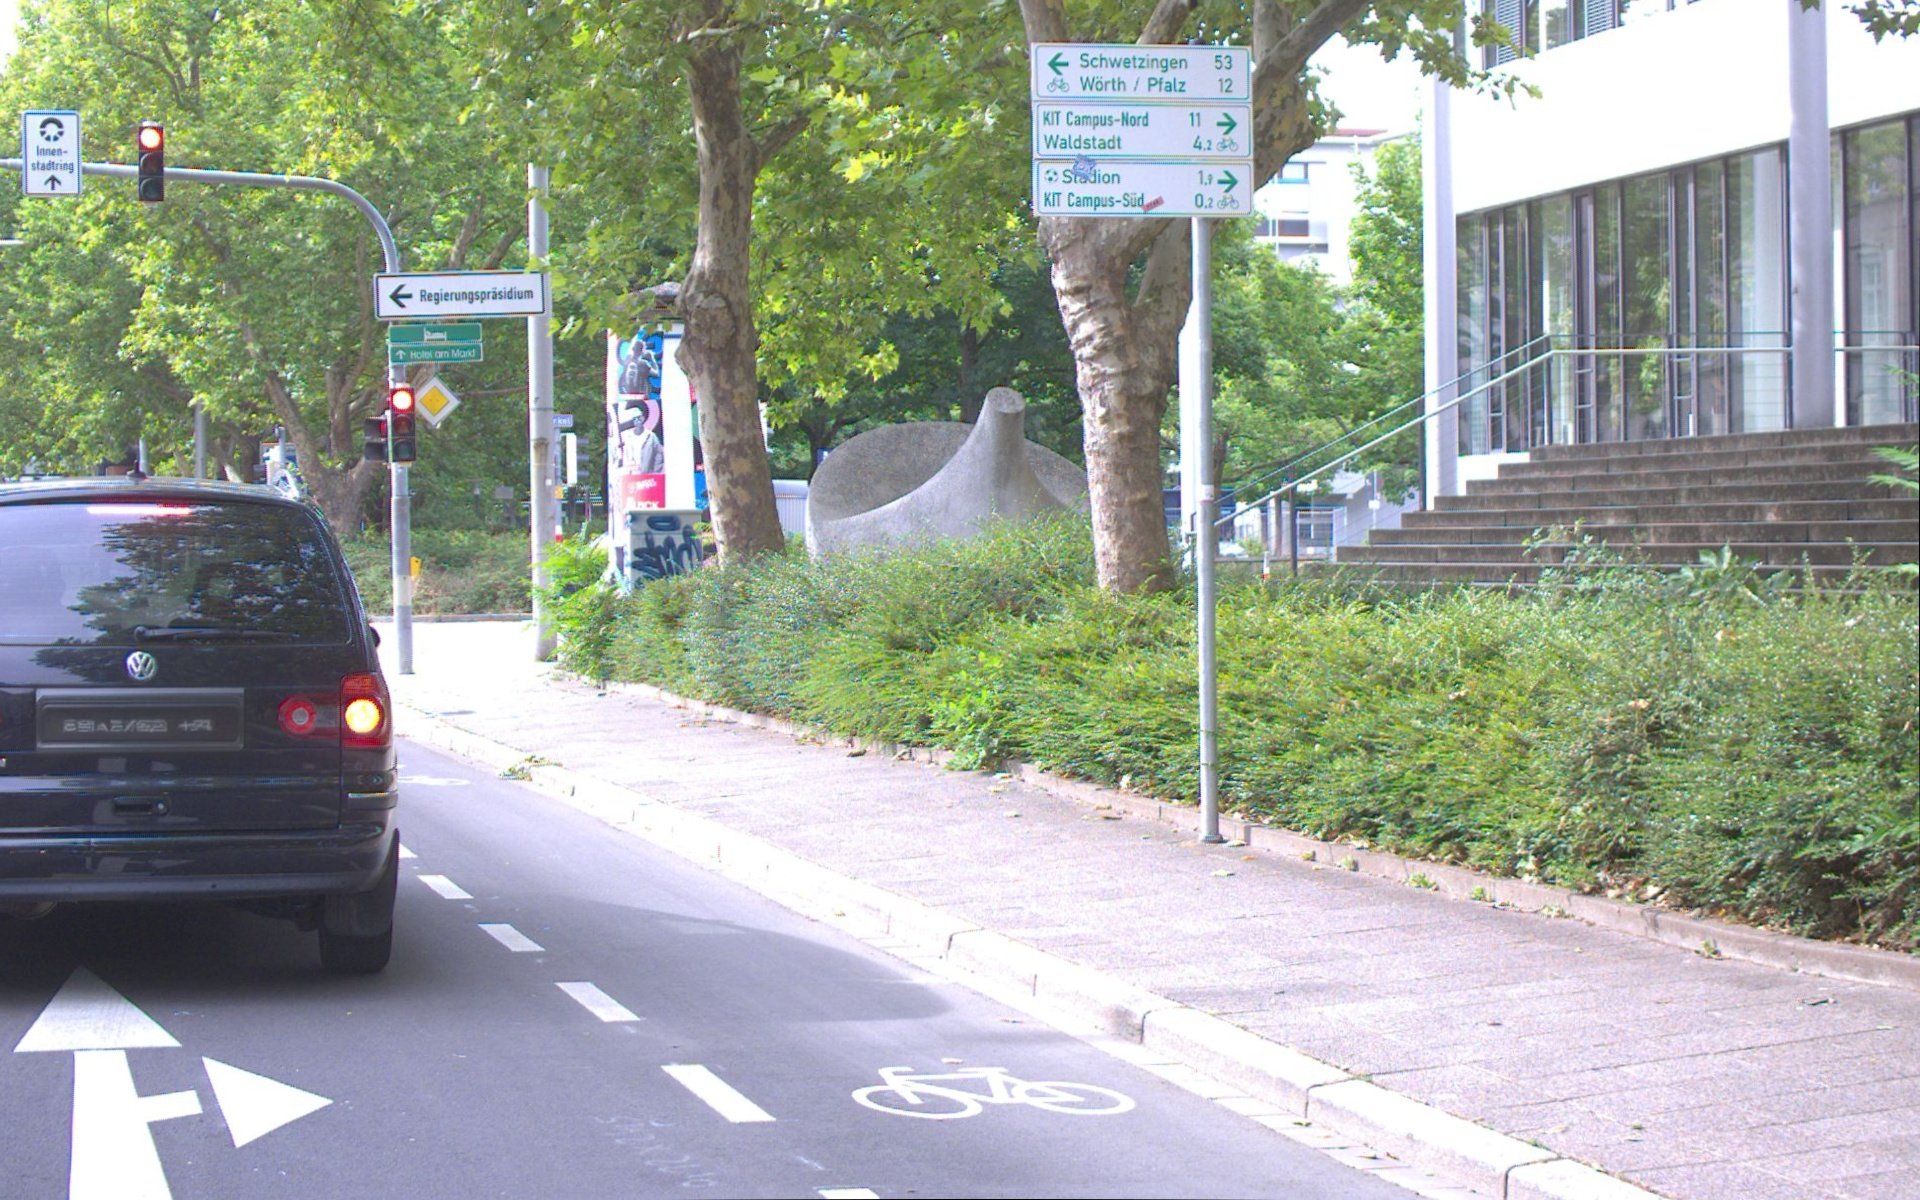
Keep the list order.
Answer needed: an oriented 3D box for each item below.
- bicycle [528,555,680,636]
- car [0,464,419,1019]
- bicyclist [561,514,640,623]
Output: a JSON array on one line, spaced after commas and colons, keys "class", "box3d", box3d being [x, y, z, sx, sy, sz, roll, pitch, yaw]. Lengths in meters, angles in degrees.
[{"class": "bicycle", "box3d": [-5.002, -0.072, 48.356, 2.018, 1.090, 0.627, -1, 1, -28]}, {"class": "car", "box3d": [-3.151, 0.395, 13.117, 1.873, 1.739, 4.575, -1, 1, -12]}, {"class": "bicyclist", "box3d": [-5.056, -0.451, 48.325, 0.914, 1.509, 0.626, -1, 1, -27]}]
